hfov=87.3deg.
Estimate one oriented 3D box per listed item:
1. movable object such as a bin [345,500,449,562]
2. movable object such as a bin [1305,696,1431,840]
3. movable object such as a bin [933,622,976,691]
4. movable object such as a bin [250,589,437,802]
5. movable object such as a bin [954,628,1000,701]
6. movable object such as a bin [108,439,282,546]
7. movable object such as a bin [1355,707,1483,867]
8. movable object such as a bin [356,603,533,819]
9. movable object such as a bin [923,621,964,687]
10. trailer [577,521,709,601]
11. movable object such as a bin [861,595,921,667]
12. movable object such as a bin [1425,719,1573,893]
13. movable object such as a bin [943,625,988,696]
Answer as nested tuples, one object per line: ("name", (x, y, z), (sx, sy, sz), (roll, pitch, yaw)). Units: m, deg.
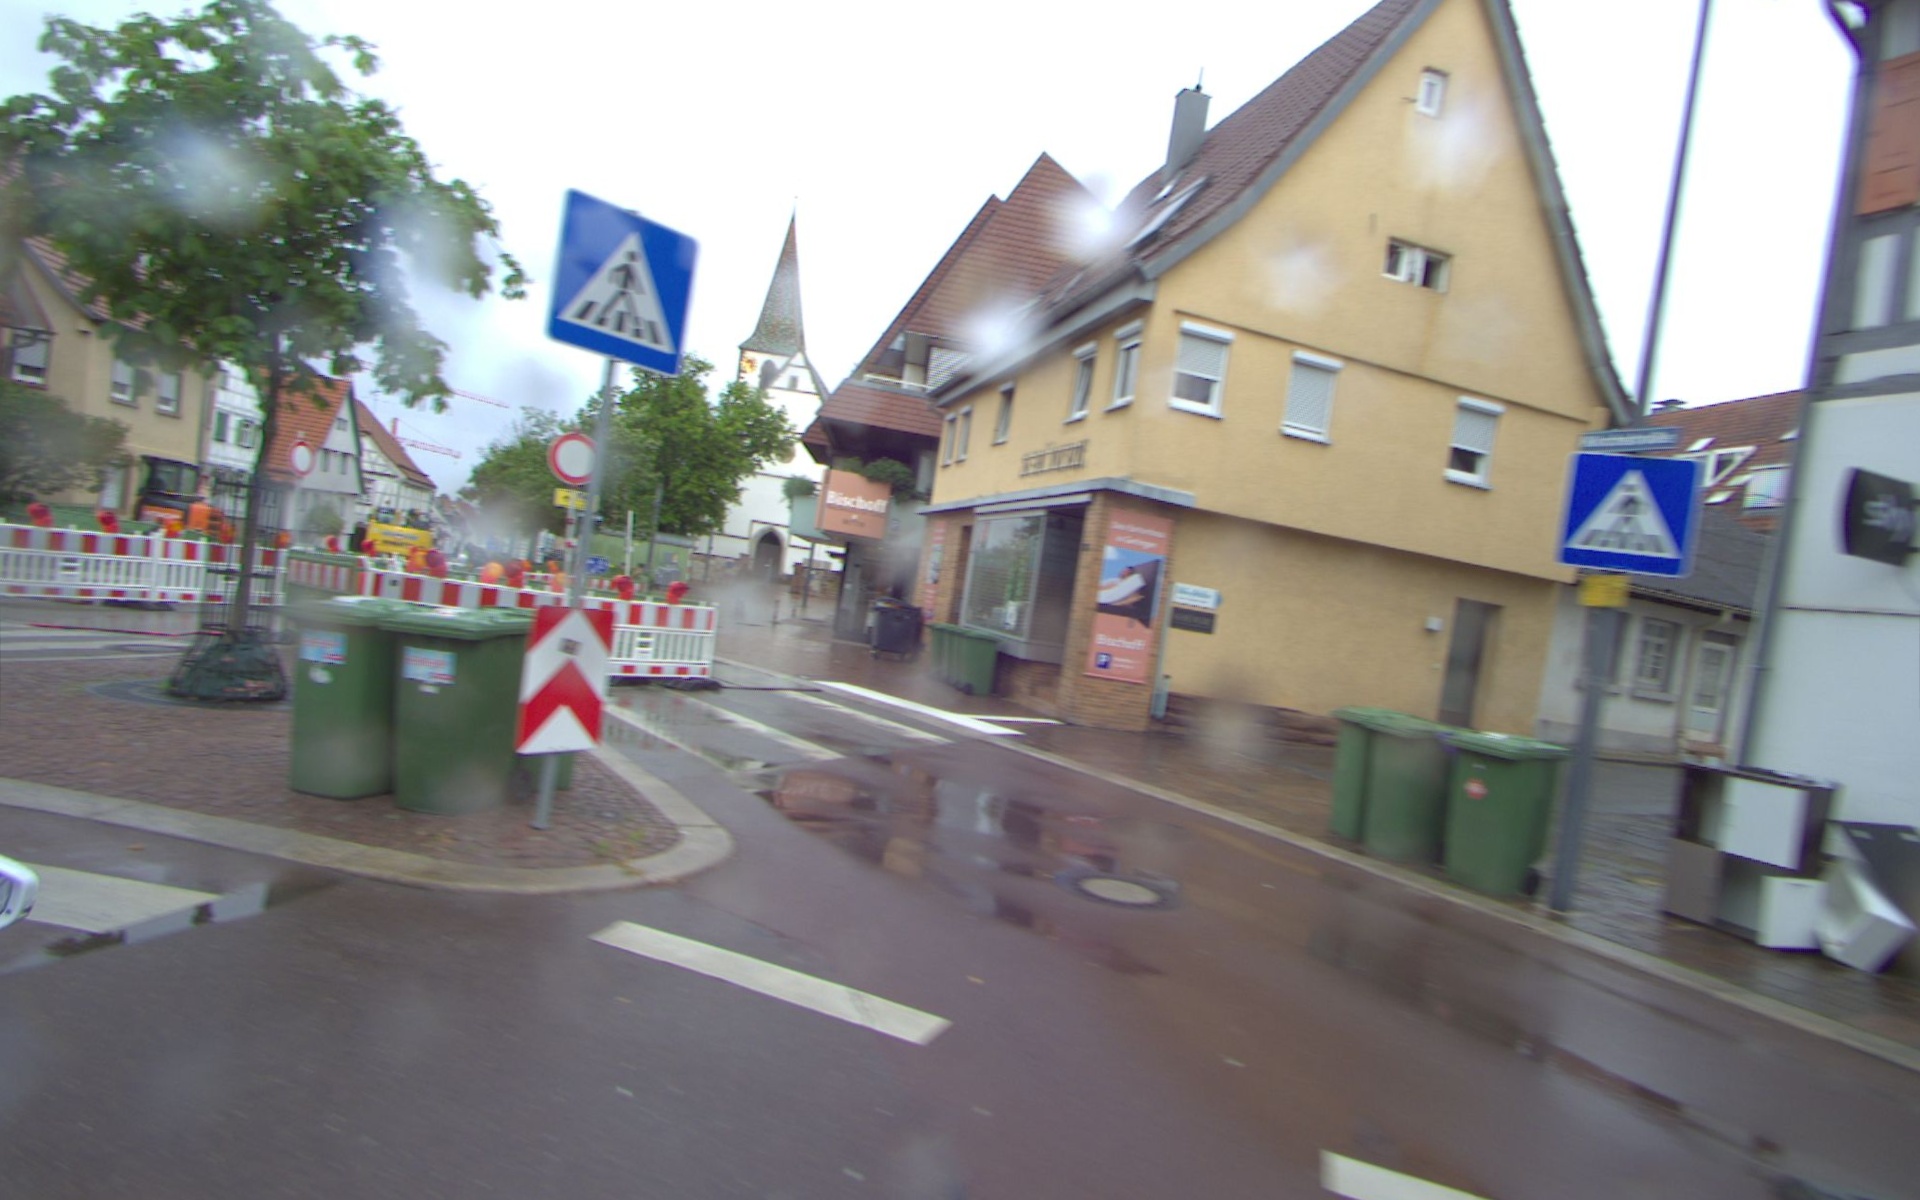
("movable object such as a bin", (-24.998, -3.016, 44.861), (3.369, 2.036, 3.462), (9, -2, -22))
("movable object such as a bin", (3.412, 1.404, 8.432), (0.673, 1.079, 0.582), (7, 0, -28))
("movable object such as a bin", (-0.103, 1.023, 18.241), (0.510, 1.149, 0.577), (5, 3, -19))
("movable object such as a bin", (-3.373, 0.509, 5.539), (0.531, 1.049, 0.573), (6, -1, 10))
("movable object such as a bin", (0.280, 1.089, 17.093), (0.511, 1.147, 0.577), (5, 2, -20))
("movable object such as a bin", (-18.954, -2.566, 25.169), (1.881, 2.038, 3.990), (6, -1, -14))
("movable object such as a bin", (3.513, 1.420, 7.733), (0.607, 1.079, 0.539), (6, 0, -6))
("movable object such as a bin", (-2.760, 0.579, 5.424), (0.534, 1.045, 0.535), (6, -1, 10))
("movable object such as a bin", (-0.307, 1.011, 18.842), (0.510, 1.143, 0.577), (5, 2, -19))
("trailer", (-15.887, -1.916, 50.514), (5.738, 2.981, 1.986), (10, -1, -28))
("movable object such as a bin", (-1.642, 0.714, 23.615), (1.052, 1.532, 1.238), (5, 1, -15))
("movable object such as a bin", (3.789, 1.437, 7.083), (0.673, 1.079, 0.536), (7, 1, -29))
("movable object such as a bin", (0.091, 1.058, 17.667), (0.510, 1.144, 0.577), (5, 3, -20))
